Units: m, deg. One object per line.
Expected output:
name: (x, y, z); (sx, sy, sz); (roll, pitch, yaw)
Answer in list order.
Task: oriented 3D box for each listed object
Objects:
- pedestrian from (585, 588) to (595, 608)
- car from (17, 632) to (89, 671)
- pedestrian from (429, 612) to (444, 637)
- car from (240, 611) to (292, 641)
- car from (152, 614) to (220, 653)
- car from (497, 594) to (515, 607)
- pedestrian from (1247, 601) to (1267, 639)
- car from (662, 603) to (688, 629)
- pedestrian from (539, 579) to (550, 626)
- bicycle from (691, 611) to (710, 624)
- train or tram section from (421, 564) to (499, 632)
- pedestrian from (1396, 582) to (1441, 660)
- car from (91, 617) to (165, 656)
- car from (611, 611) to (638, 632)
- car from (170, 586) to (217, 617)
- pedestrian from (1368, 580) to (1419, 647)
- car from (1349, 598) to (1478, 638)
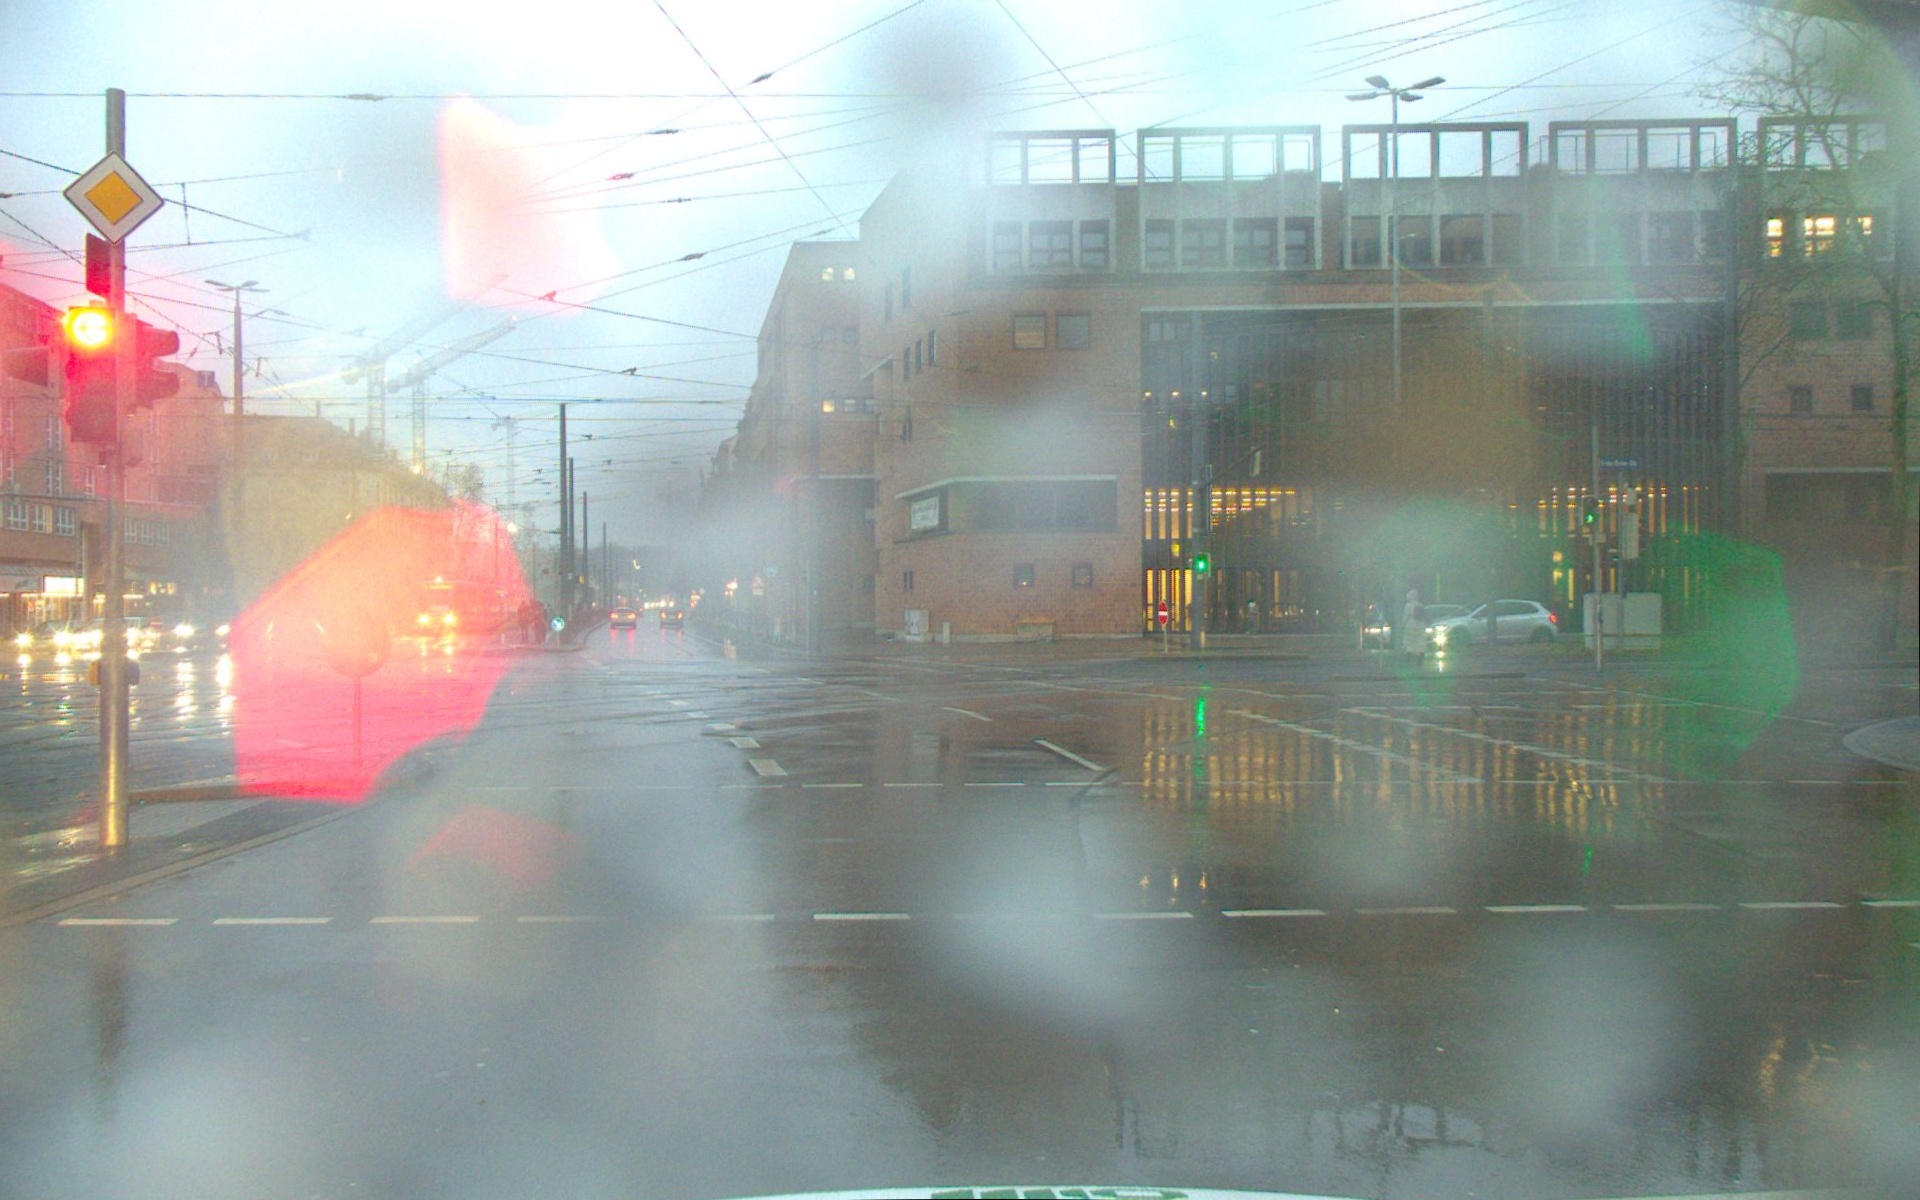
pedestrian: (-28.515, -0.183, 127.499); (0.671, 1.542, 0.614); (0, 0, -24)
car: (-38.189, 2.159, 69.695); (1.553, 1.521, 3.587); (-1, 0, -10)
pedestrian: (-24.433, 1.150, 77.215); (0.569, 1.173, 0.489); (1, -1, -10)
car: (-33.411, 1.251, 79.689); (1.652, 1.378, 3.535); (1, -1, -12)
car: (-36.202, 1.552, 77.472); (1.796, 1.739, 4.692); (0, 0, -11)
car: (-48.152, 0.078, 175.443); (1.652, 1.378, 3.535); (1, -1, -12)
pedestrian: (11.369, 0.756, 63.296); (0.721, 1.413, 0.738); (-1, 0, 10)
car: (-22.950, 1.299, 133.147); (1.957, 2.049, 3.991); (-1, 0, -9)
pedestrian: (-16.867, 0.091, 67.075); (0.405, 1.878, 0.667); (0, 0, -16)
bicycle: (-23.865, 1.623, 152.134); (1.700, 1.073, 0.370); (-2, 0, -13)
train or tram section: (-28.942, -0.084, 96.243); (2.897, 3.652, 12.223); (1, 0, -10)
pedestrian: (10.839, 0.499, 39.112); (0.721, 1.818, 0.732); (-1, 0, -14)
car: (-35.148, 1.521, 69.988); (1.638, 1.521, 4.191); (-1, 0, -10)
car: (-24.478, 1.568, 120.760); (1.751, 1.492, 3.142); (-1, 0, -9)
car: (-52.299, 0.095, 112.917); (1.958, 2.049, 3.989); (1, 0, -11)
pedestrian: (12.008, 0.367, 45.785); (1.128, 1.818, 0.775); (-1, 0, -10)
car: (15.593, 0.610, 56.985); (3.908, 1.333, 1.810); (0, 0, -9)
